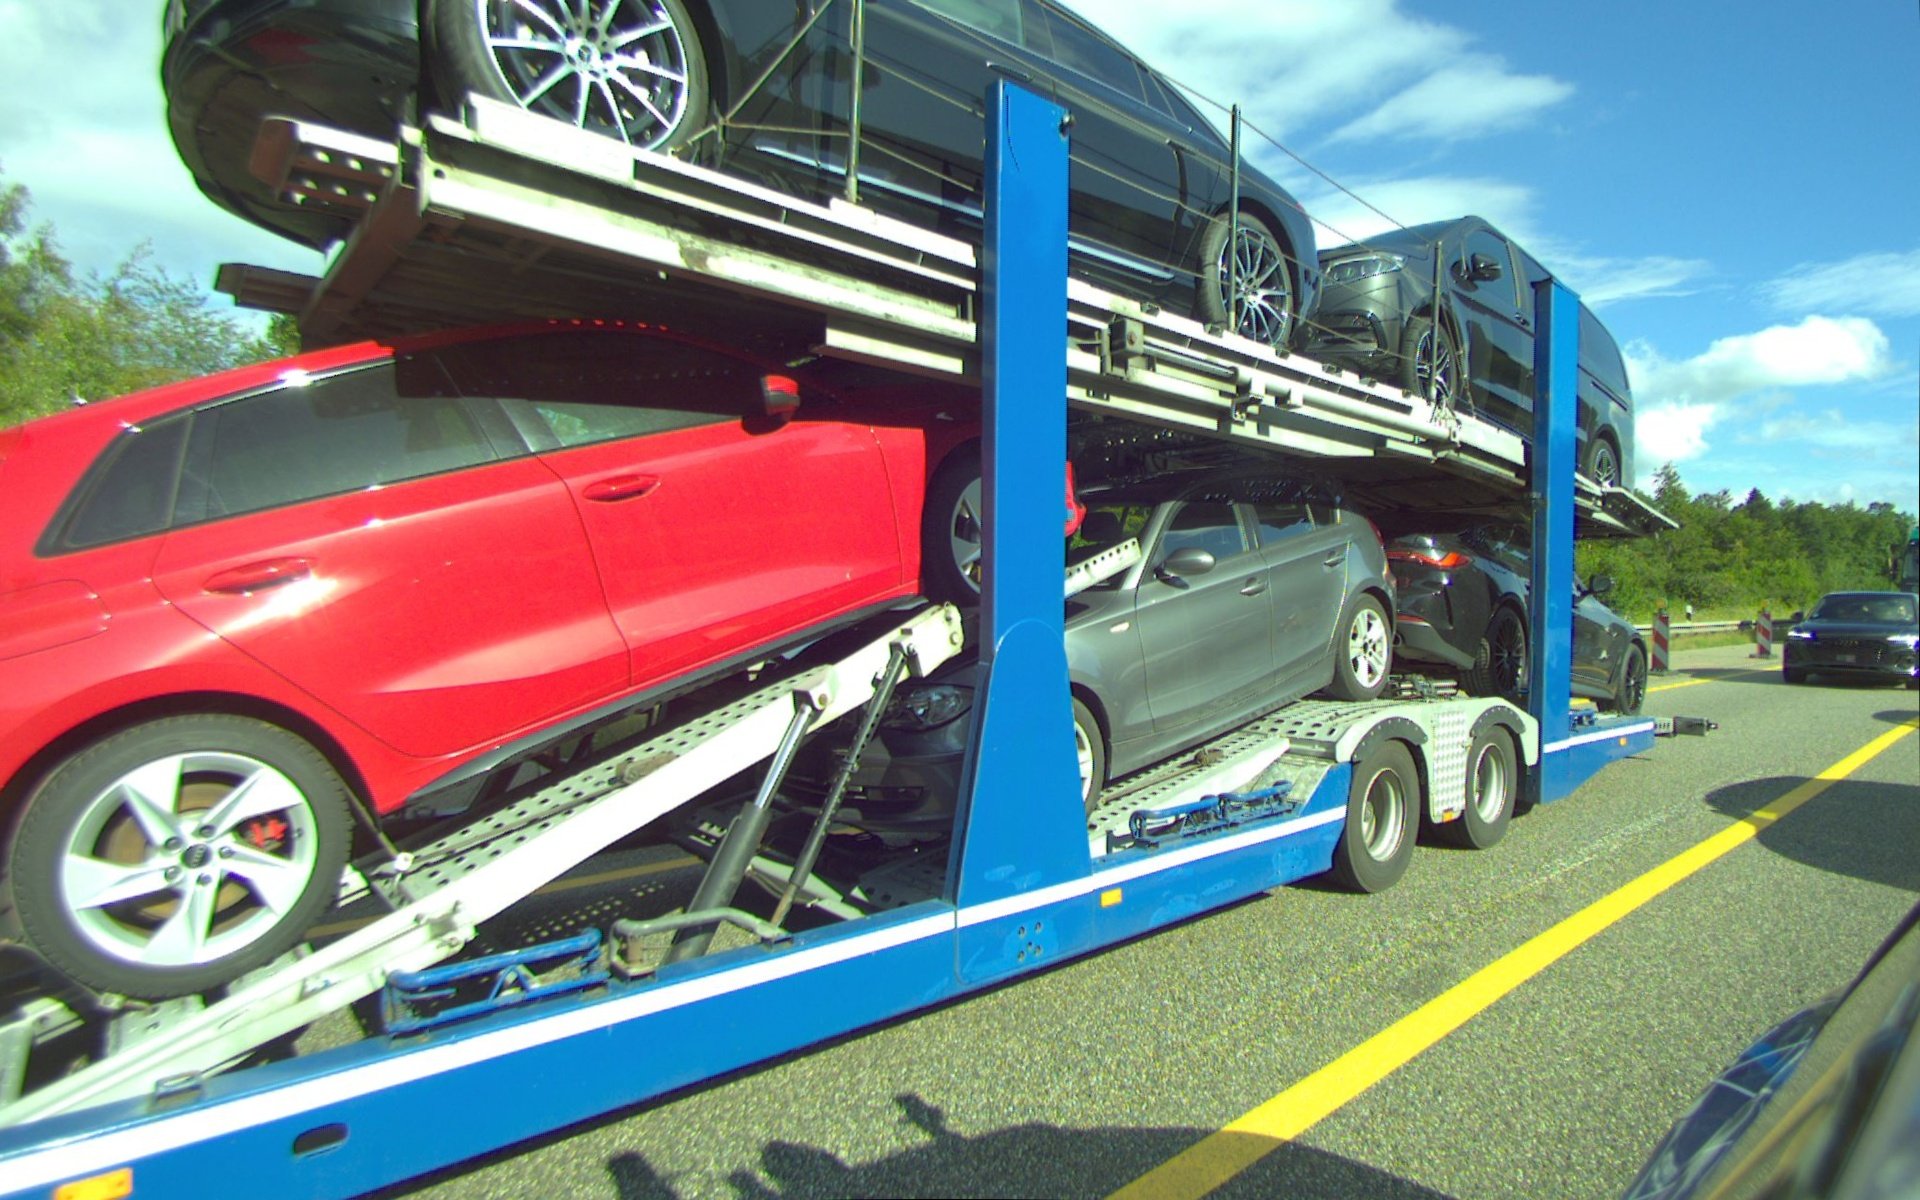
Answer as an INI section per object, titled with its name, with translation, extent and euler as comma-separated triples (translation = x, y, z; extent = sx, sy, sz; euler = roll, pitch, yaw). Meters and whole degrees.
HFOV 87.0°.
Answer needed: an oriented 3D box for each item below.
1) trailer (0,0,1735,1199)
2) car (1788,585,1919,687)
[trailer]
translation = -0.040, -0.845, 5.514
extent = 15.946, 4.249, 3.732
euler = -1, 0, -41
[car]
translation = 16.344, 0.551, 18.035
extent = 4.219, 1.622, 1.781
euler = -1, 0, -41
